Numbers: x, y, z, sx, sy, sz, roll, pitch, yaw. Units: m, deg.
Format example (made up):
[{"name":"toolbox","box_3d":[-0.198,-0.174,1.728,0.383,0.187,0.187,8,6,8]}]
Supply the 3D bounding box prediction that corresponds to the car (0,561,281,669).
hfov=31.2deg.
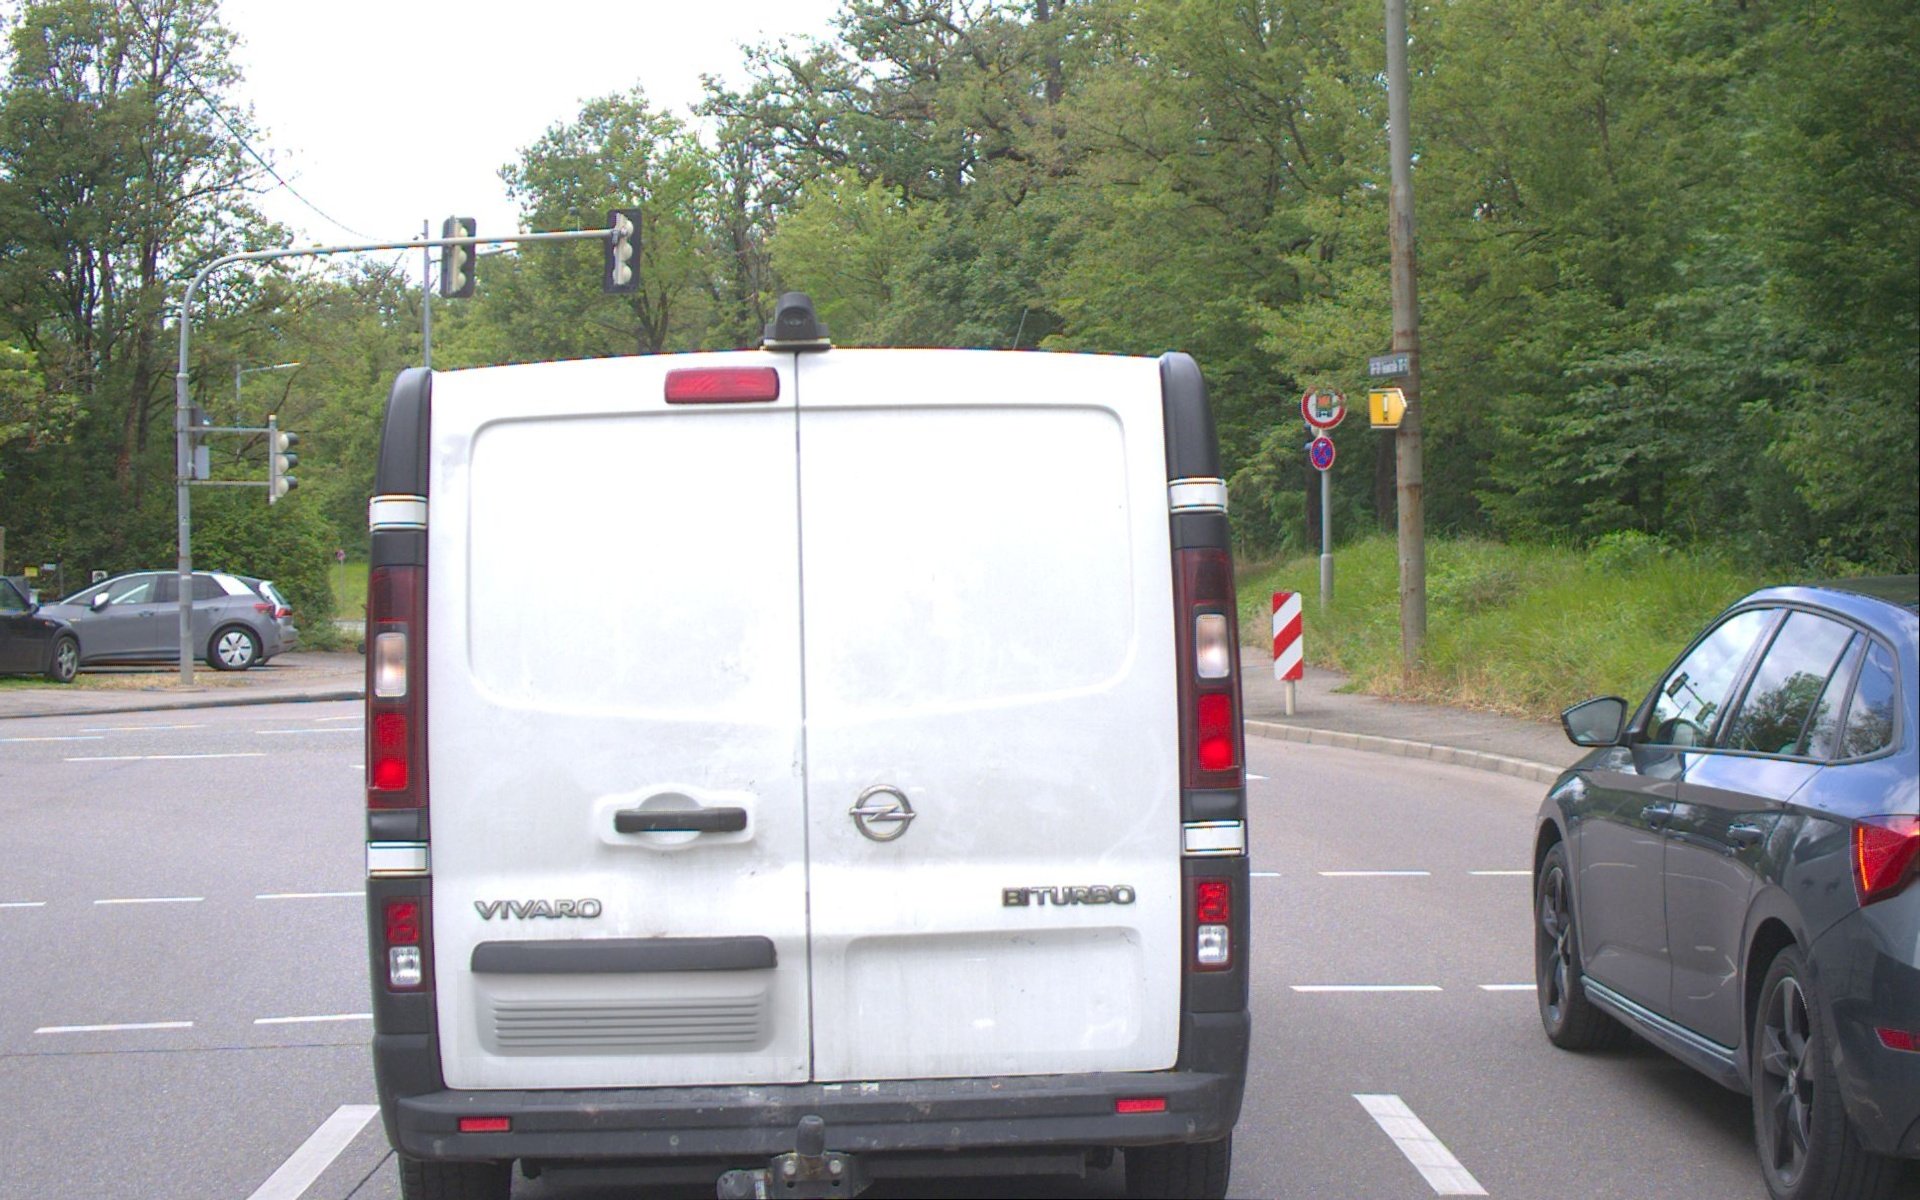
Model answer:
[{"name":"car","box_3d":[-12.482,0.203,52.167,4.085,1.548,1.855,-1,1,-17]}]

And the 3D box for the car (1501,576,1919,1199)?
[{"name":"car","box_3d":[2.659,0.680,8.854,1.792,1.445,4.000,0,1,-2]}]

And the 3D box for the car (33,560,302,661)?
[{"name":"car","box_3d":[-12.762,0.149,55.334,4.085,1.548,1.855,-1,1,-17]}]

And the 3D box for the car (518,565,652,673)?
[{"name":"car","box_3d":[-5.570,0.255,51.406,1.856,1.501,4.001,-1,1,-5]}]

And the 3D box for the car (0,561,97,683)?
[{"name":"car","box_3d":[-12.292,0.243,41.976,1.699,1.444,3.539,2,1,20]}]

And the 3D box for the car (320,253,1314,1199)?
[{"name":"car","box_3d":[-0.385,0.332,9.076,1.916,2.046,4.615,1,1,-3]}]
